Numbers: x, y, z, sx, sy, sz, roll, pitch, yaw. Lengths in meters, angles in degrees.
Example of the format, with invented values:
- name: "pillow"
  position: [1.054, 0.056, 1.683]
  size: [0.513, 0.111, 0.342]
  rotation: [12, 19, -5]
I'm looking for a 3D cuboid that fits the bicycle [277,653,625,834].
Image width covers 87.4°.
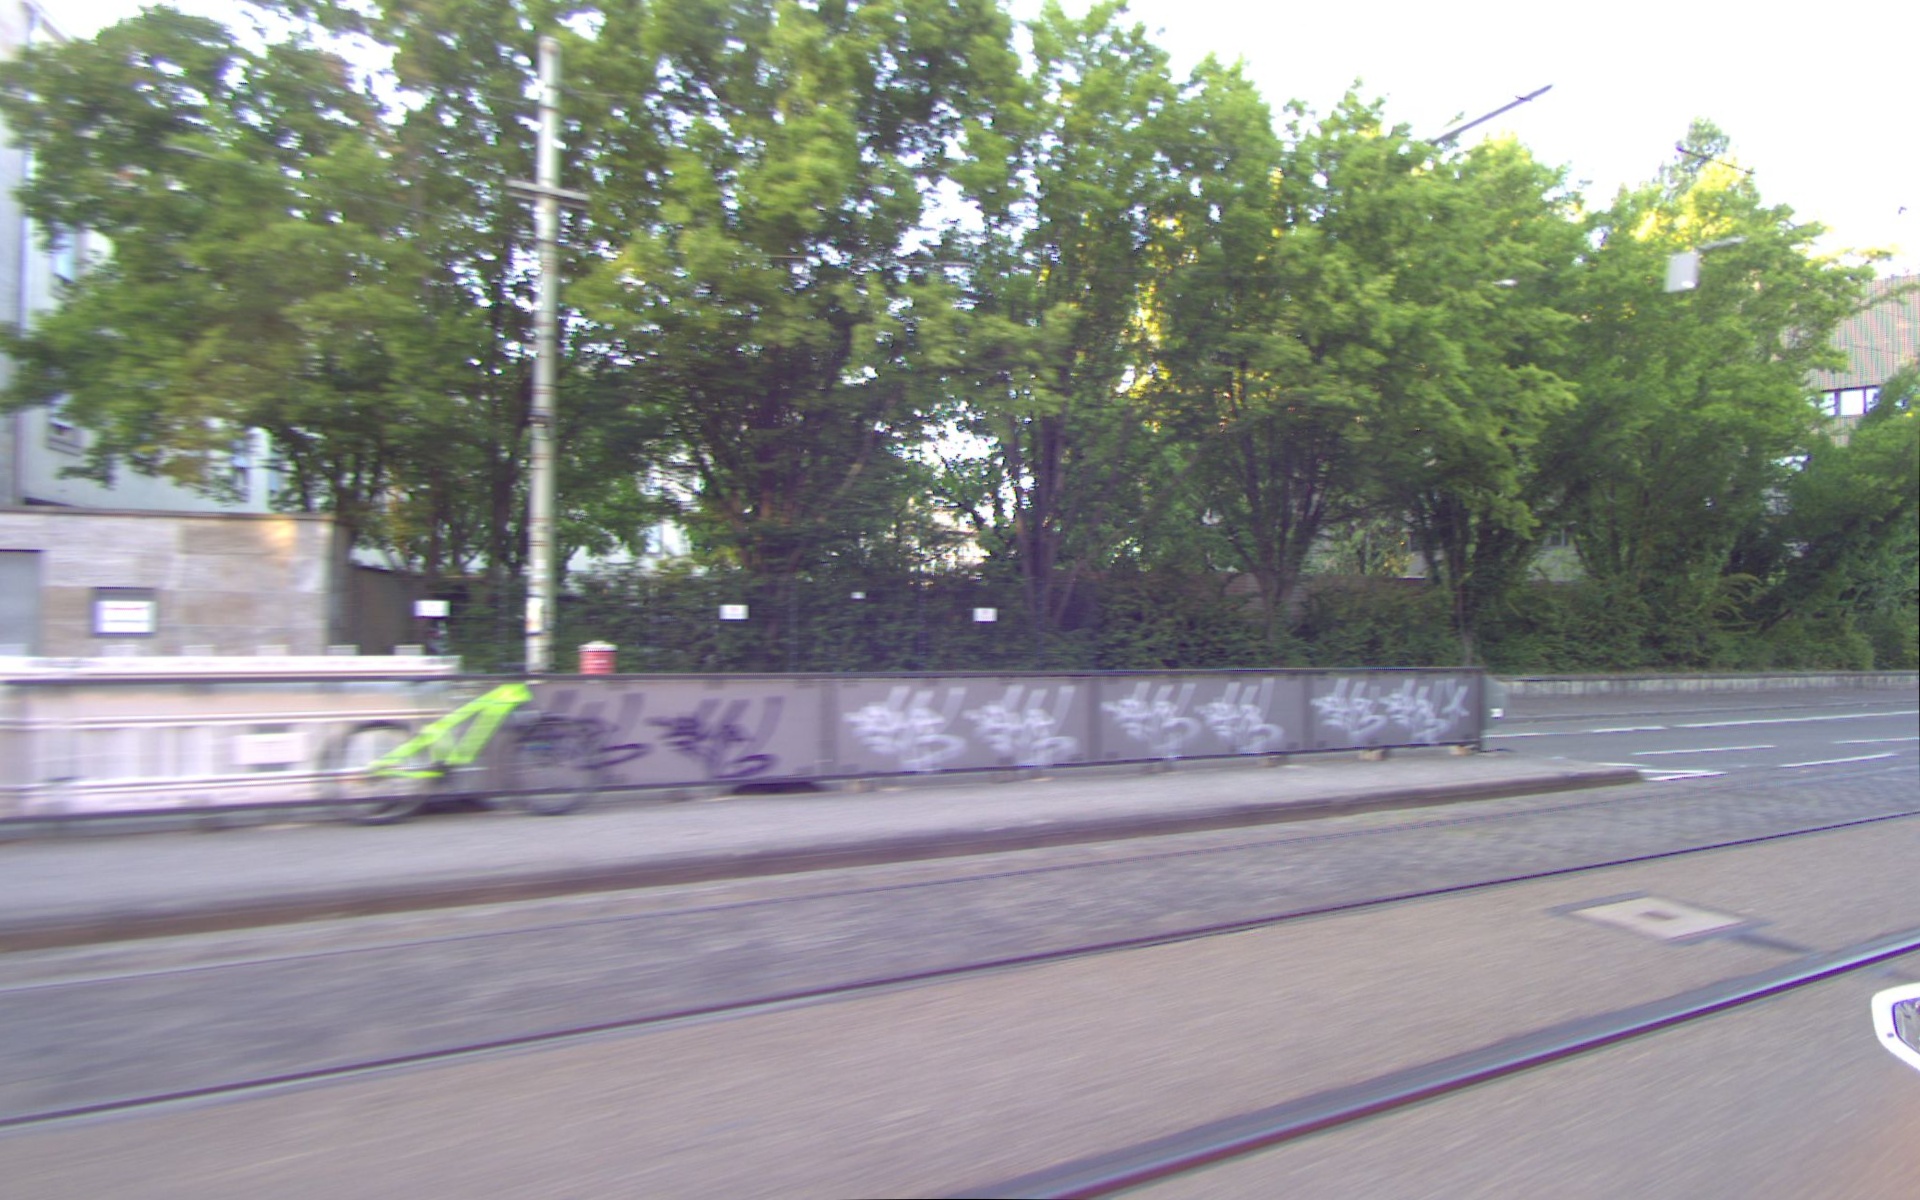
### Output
- name: "bicycle"
  position: [-3.310, 0.903, 6.713]
  size: [1.993, 1.089, 0.461]
  rotation: [1, -2, -23]

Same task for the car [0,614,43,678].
- name: "car"
  position: [-22.281, 1.027, 22.434]
  size: [1.370, 1.438, 3.005]
  rotation: [1, -1, -14]
